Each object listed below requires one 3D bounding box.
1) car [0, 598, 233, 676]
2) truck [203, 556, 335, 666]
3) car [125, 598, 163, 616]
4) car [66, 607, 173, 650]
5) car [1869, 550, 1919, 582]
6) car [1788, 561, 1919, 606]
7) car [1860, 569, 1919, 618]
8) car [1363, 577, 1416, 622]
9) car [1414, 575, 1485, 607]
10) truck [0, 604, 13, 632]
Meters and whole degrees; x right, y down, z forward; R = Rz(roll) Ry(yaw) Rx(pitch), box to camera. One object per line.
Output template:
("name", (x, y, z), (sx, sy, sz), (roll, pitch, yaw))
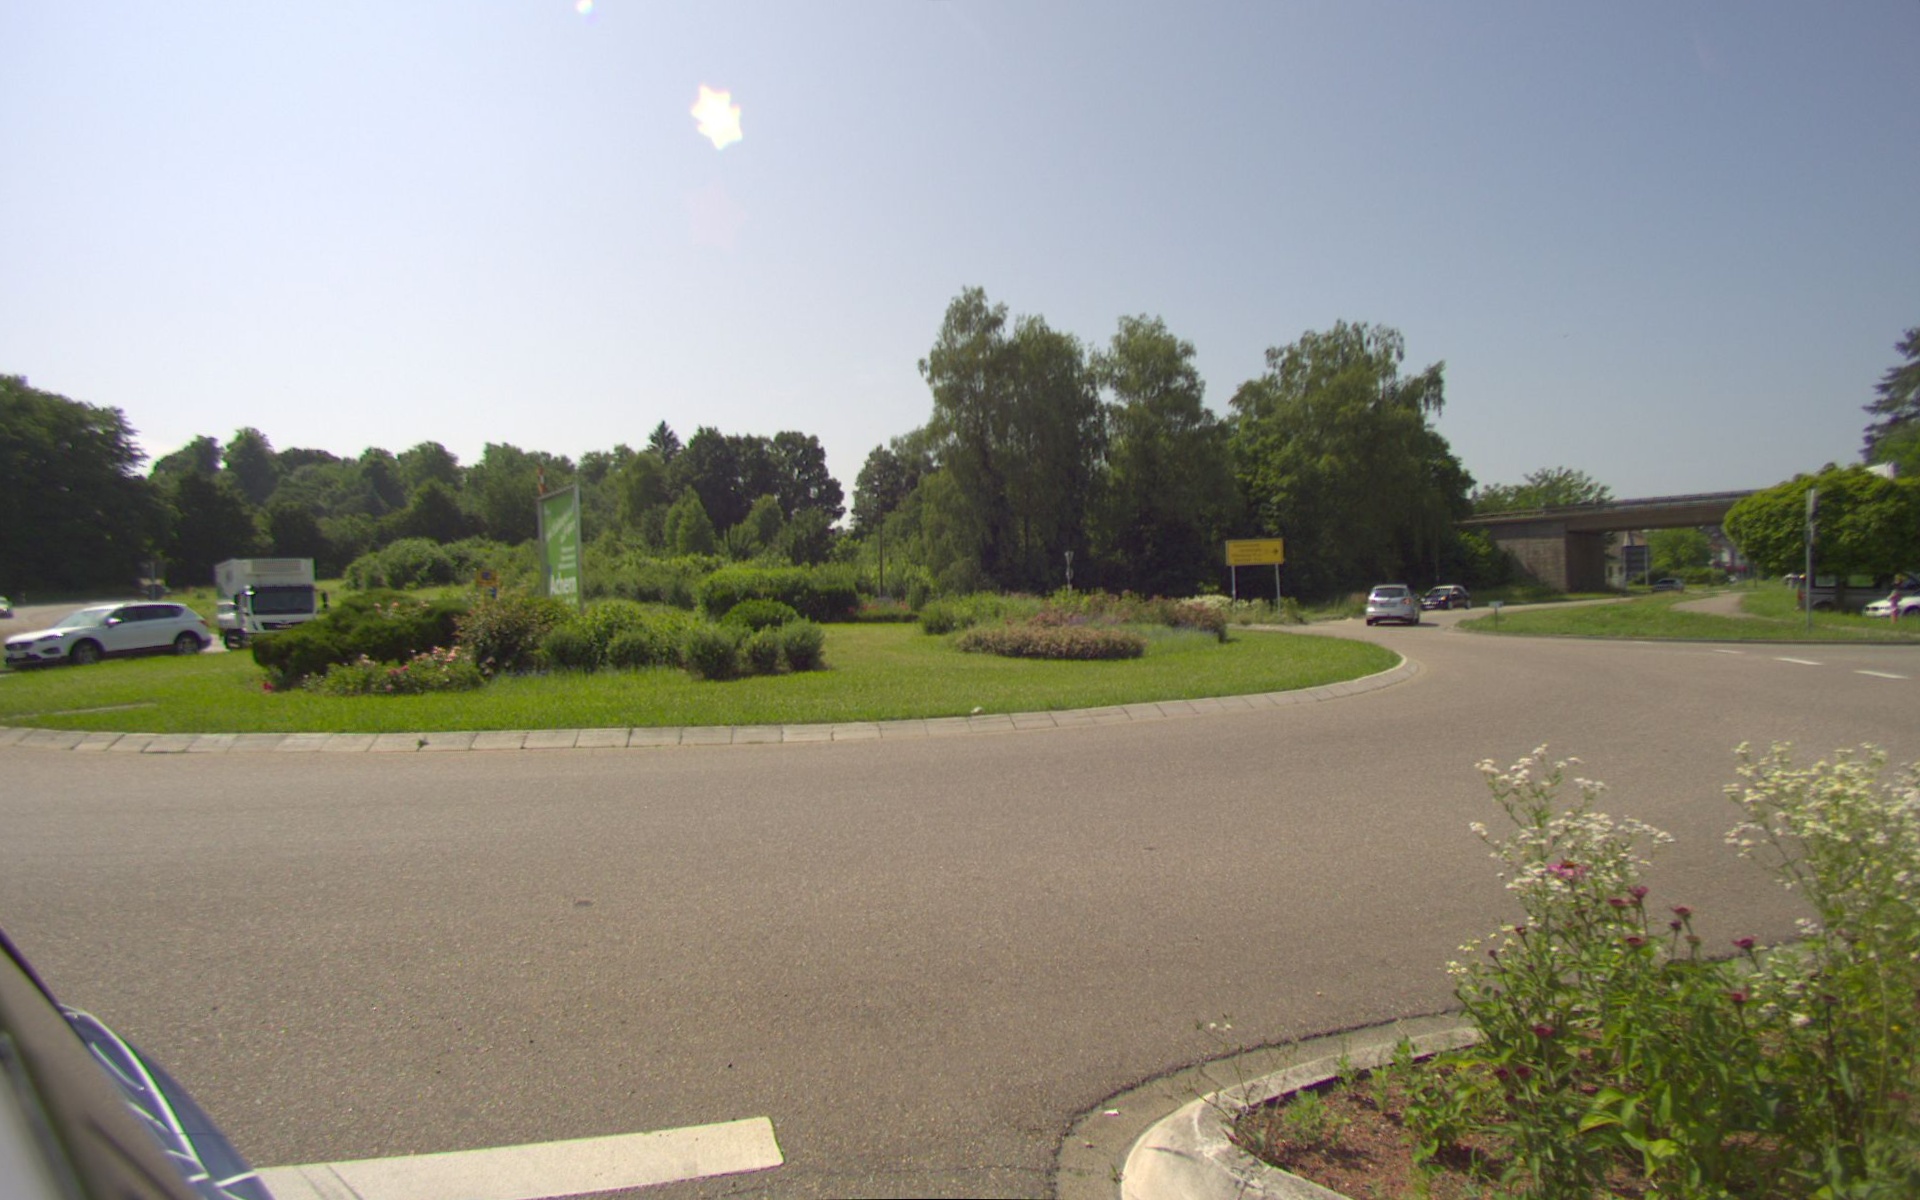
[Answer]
("car", (-22.371, 0.903, 26.632), (2.174, 1.664, 5.104), (-3, 1, 11))
("truck", (-27.604, 0.409, 40.193), (2.857, 3.857, 9.032), (-4, 2, -43))
("car", (-76.757, 0.702, 95.281), (1.727, 1.542, 4.226), (0, -3, -24))
("car", (-44.394, 1.501, 53.440), (5.566, 2.028, 1.985), (-2, 1, 23))
("car", (53.682, -1.950, 56.129), (1.998, 1.664, 4.645), (-4, 1, -41))
("car", (34.077, -0.614, 38.015), (1.849, 1.573, 4.409), (-4, 2, -44))
("car", (32.718, -0.281, 33.379), (4.504, 1.508, 1.585), (-2, 1, 2))
("car", (17.085, -0.049, 40.152), (1.781, 1.563, 3.967), (-2, 2, 25))
("car", (29.356, -0.552, 60.635), (4.565, 1.664, 2.033), (-4, 1, -39))
("truck", (-71.856, 1.360, 74.830), (2.326, 2.028, 5.449), (-4, 2, -40))
